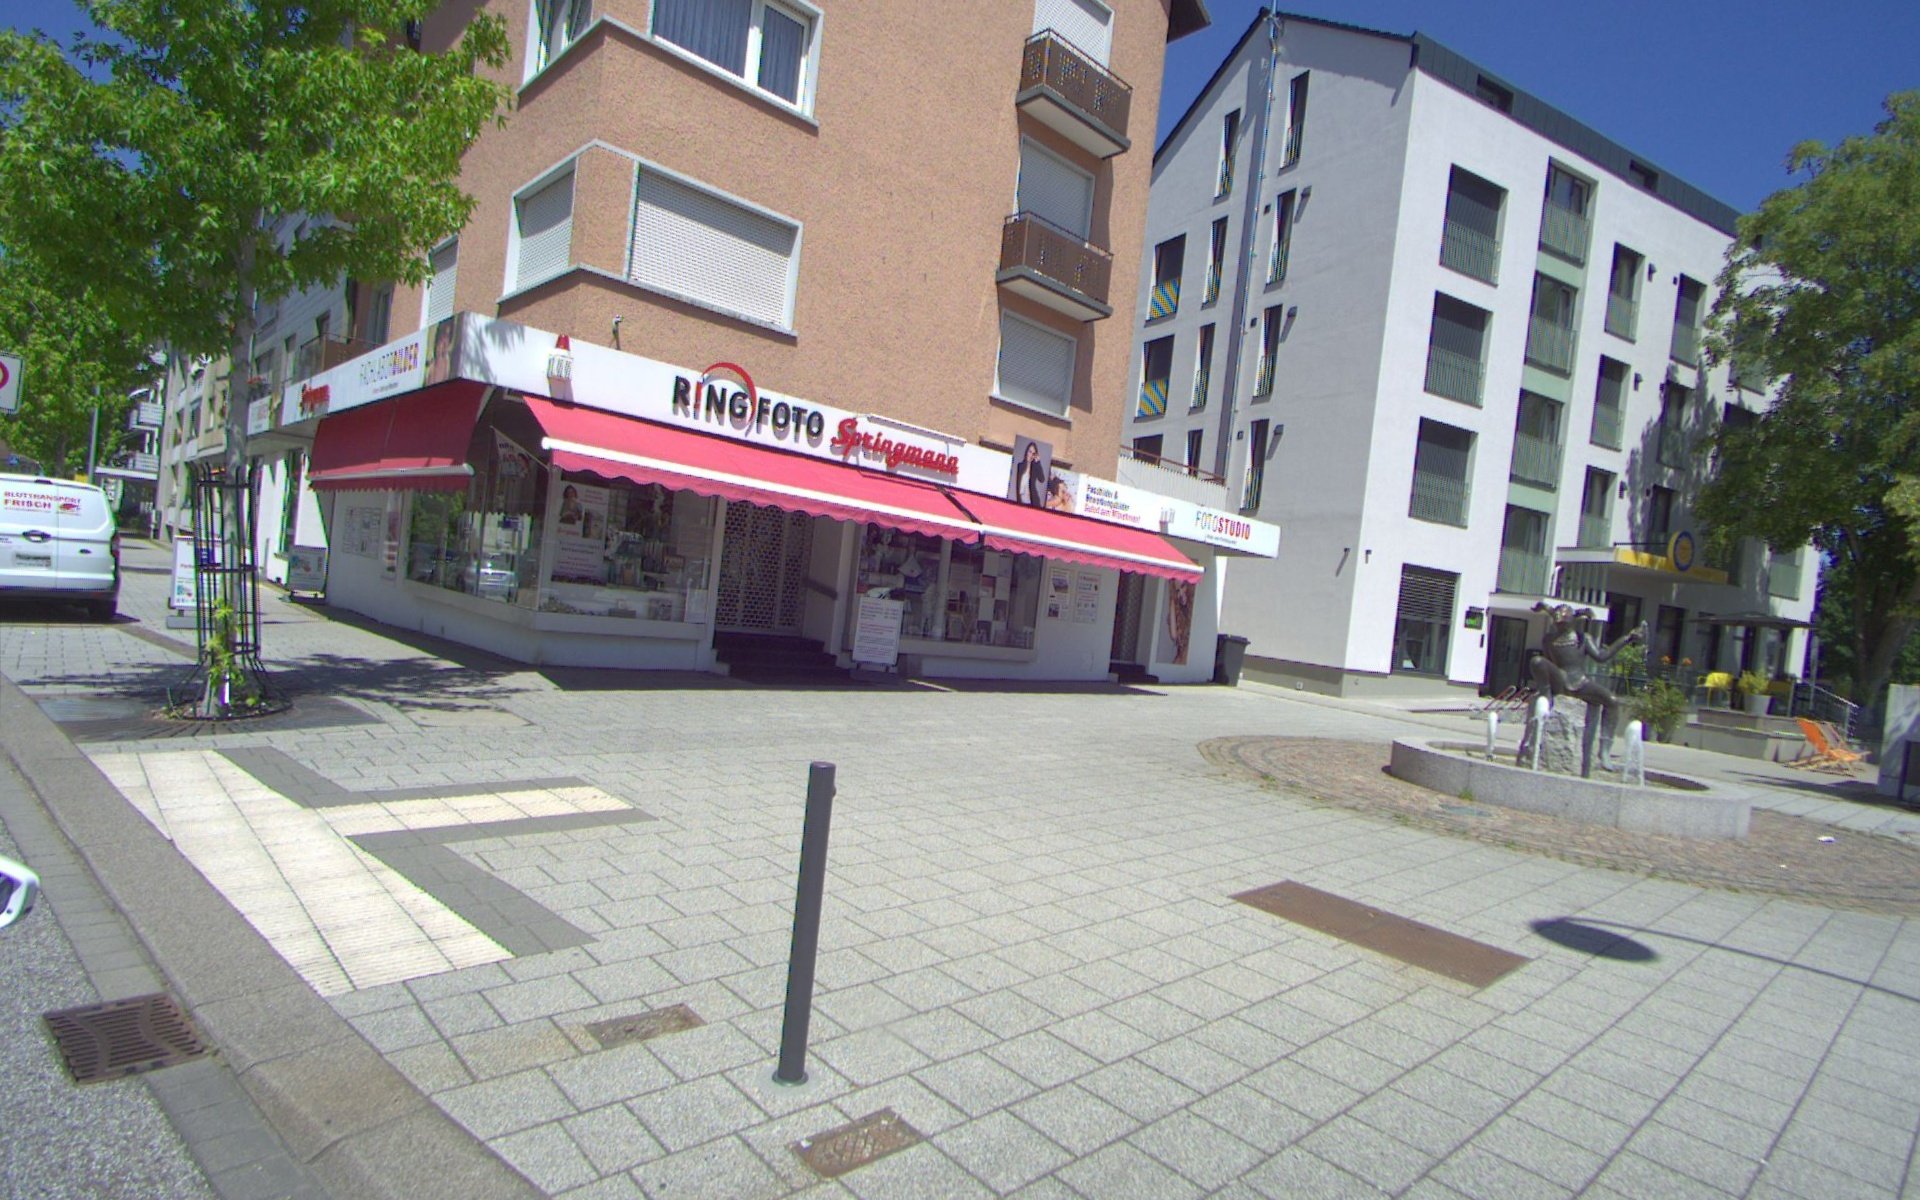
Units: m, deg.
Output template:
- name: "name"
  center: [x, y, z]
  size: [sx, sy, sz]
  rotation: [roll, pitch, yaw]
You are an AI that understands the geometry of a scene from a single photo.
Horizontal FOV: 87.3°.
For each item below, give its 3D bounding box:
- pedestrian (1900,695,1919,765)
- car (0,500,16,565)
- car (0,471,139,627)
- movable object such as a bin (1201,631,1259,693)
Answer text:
- name: "pedestrian"
  center: [23.673, 3.206, 24.754]
  size: [0.399, 1.651, 0.650]
  rotation: [8, 4, 24]
- name: "car"
  center: [-27.472, -1.988, 27.864]
  size: [1.756, 1.728, 4.650]
  rotation: [4, 1, -42]
- name: "car"
  center: [-12.219, -0.718, 12.900]
  size: [3.851, 1.747, 1.745]
  rotation: [6, 2, 38]
- name: "movable object such as a bin"
  center: [5.721, 1.314, 21.354]
  size: [0.751, 1.171, 0.768]
  rotation: [5, 4, -25]
